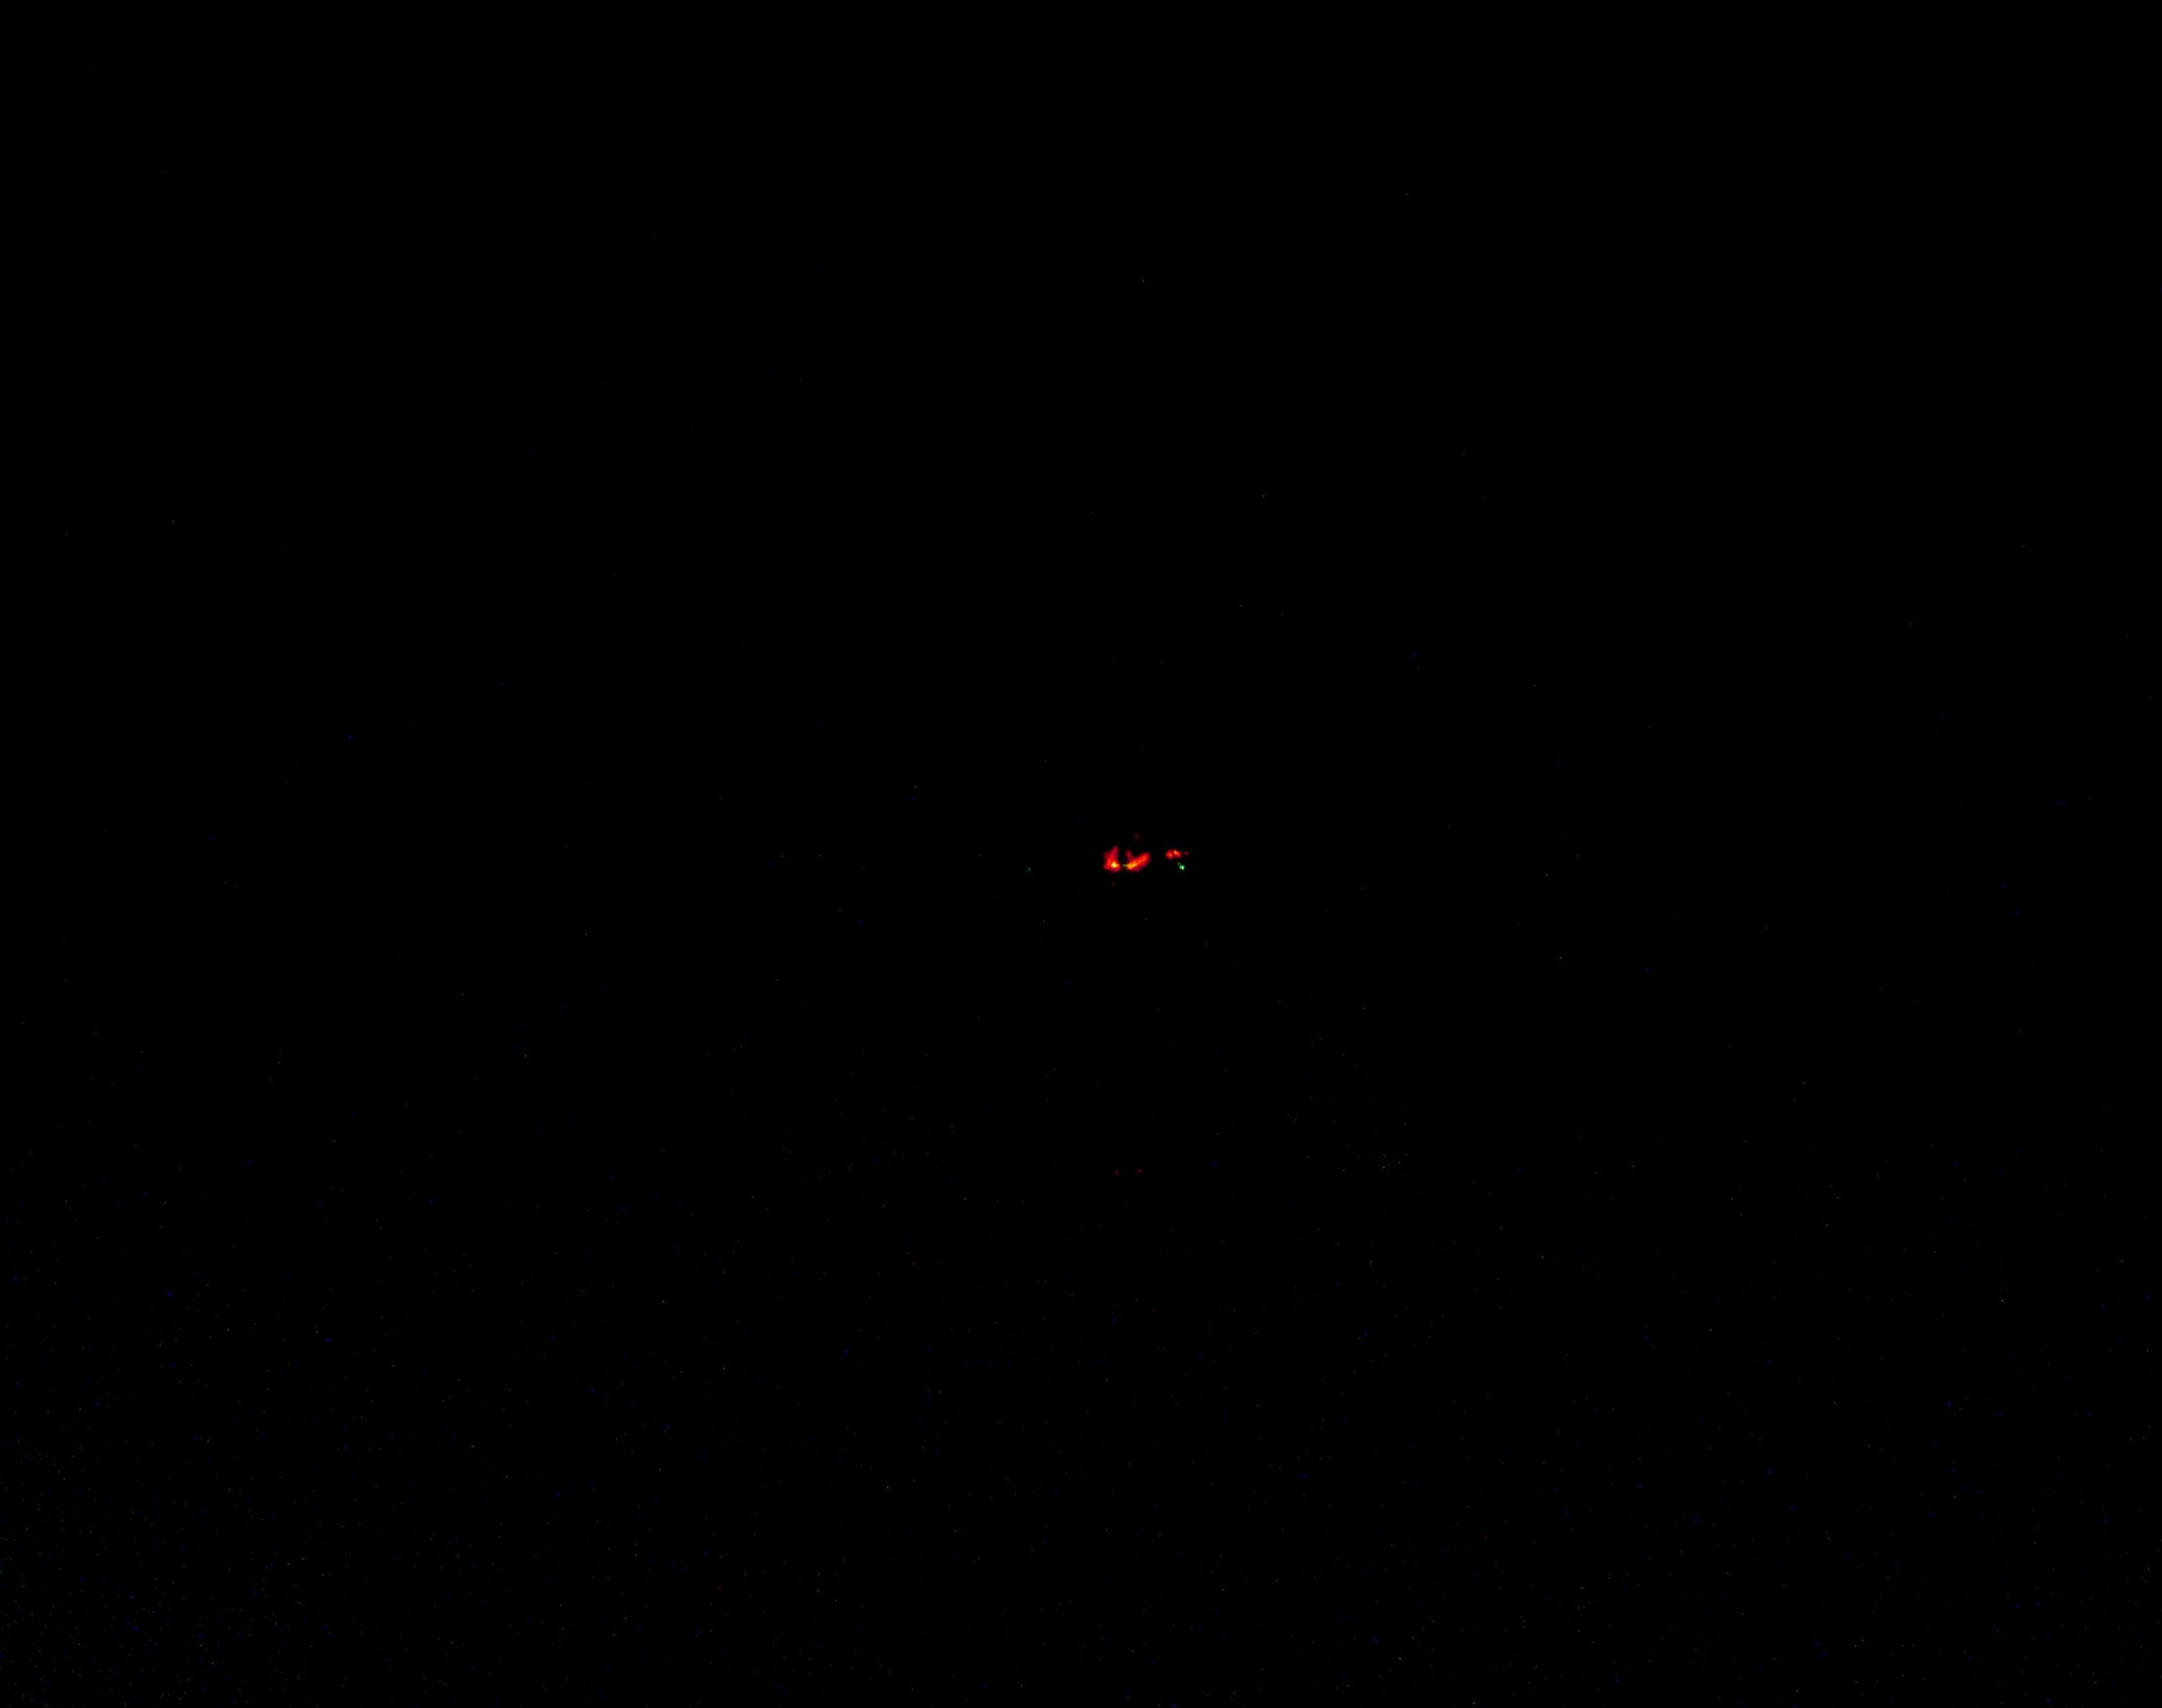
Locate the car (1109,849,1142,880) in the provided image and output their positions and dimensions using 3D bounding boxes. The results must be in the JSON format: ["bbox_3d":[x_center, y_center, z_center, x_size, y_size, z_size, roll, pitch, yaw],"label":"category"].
[{"bbox_3d":[2.650,0.594,48.766,1.835,1.740,4.003,-1,0,3],"label":"car"}]
